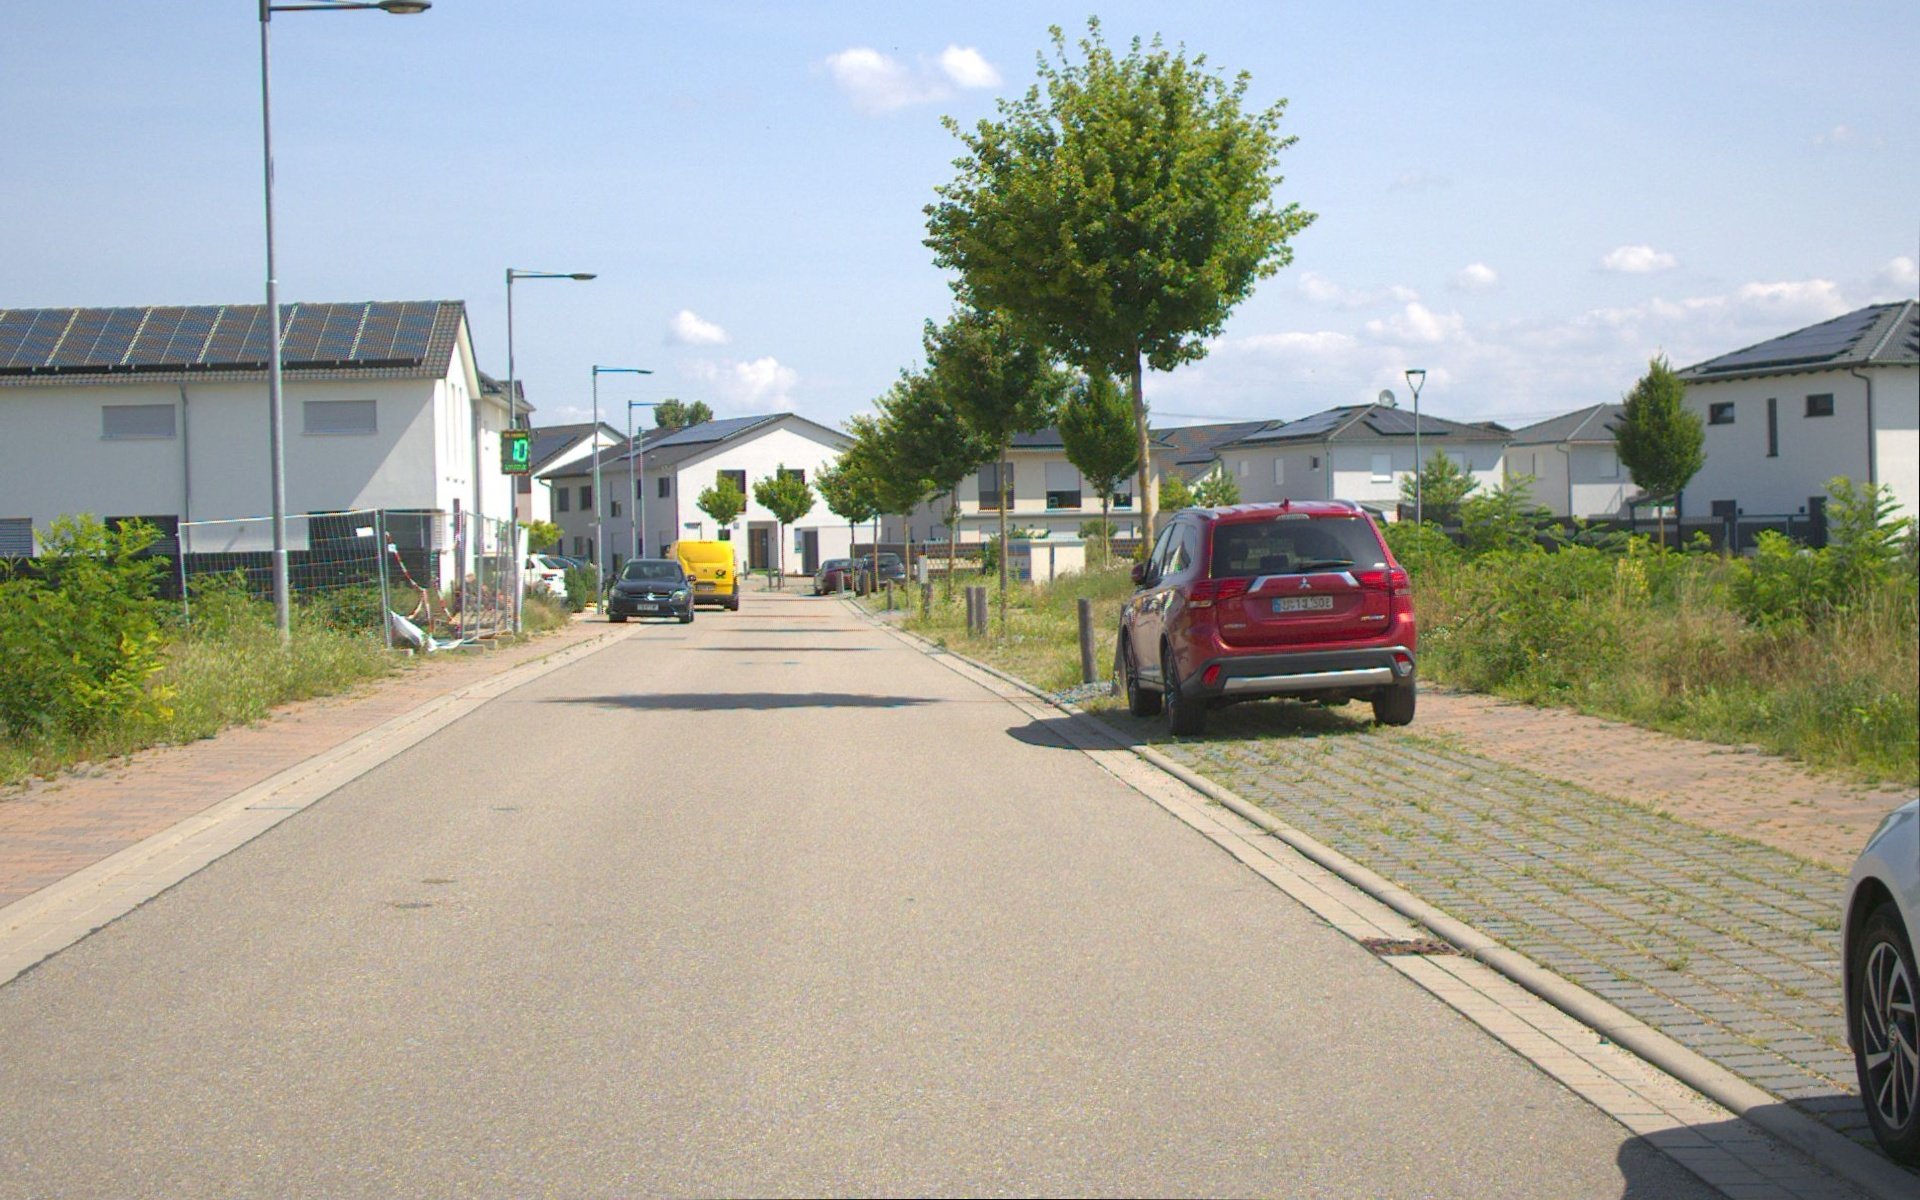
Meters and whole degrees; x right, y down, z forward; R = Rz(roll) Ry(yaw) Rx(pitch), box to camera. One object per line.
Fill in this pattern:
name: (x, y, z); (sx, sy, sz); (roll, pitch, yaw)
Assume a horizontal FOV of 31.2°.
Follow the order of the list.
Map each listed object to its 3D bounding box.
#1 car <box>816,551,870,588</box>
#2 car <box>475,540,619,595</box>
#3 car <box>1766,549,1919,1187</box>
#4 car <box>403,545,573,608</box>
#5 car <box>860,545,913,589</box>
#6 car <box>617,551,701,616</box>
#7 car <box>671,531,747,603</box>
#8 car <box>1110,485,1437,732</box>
car: (-4.687, -1.213, 136.935); (1.627, 1.318, 3.834); (-1, -1, -9)
car: (-13.047, -1.022, 108.596); (4.159, 1.499, 1.816); (3, 0, -18)
car: (3.068, 0.600, 6.734); (1.775, 1.415, 4.166); (-3, 1, -2)
car: (-12.095, -0.613, 88.242); (4.069, 1.576, 1.784); (0, 2, 3)
car: (-2.543, -1.118, 118.393); (1.639, 1.398, 3.811); (-1, -1, -4)
car: (-6.807, -0.399, 77.994); (1.745, 1.400, 4.160); (1, 1, -3)
car: (-7.182, -0.926, 98.103); (1.941, 1.975, 4.218); (-1, 0, -7)
car: (2.297, 0.008, 26.314); (1.776, 1.657, 4.434); (-2, 1, -4)
